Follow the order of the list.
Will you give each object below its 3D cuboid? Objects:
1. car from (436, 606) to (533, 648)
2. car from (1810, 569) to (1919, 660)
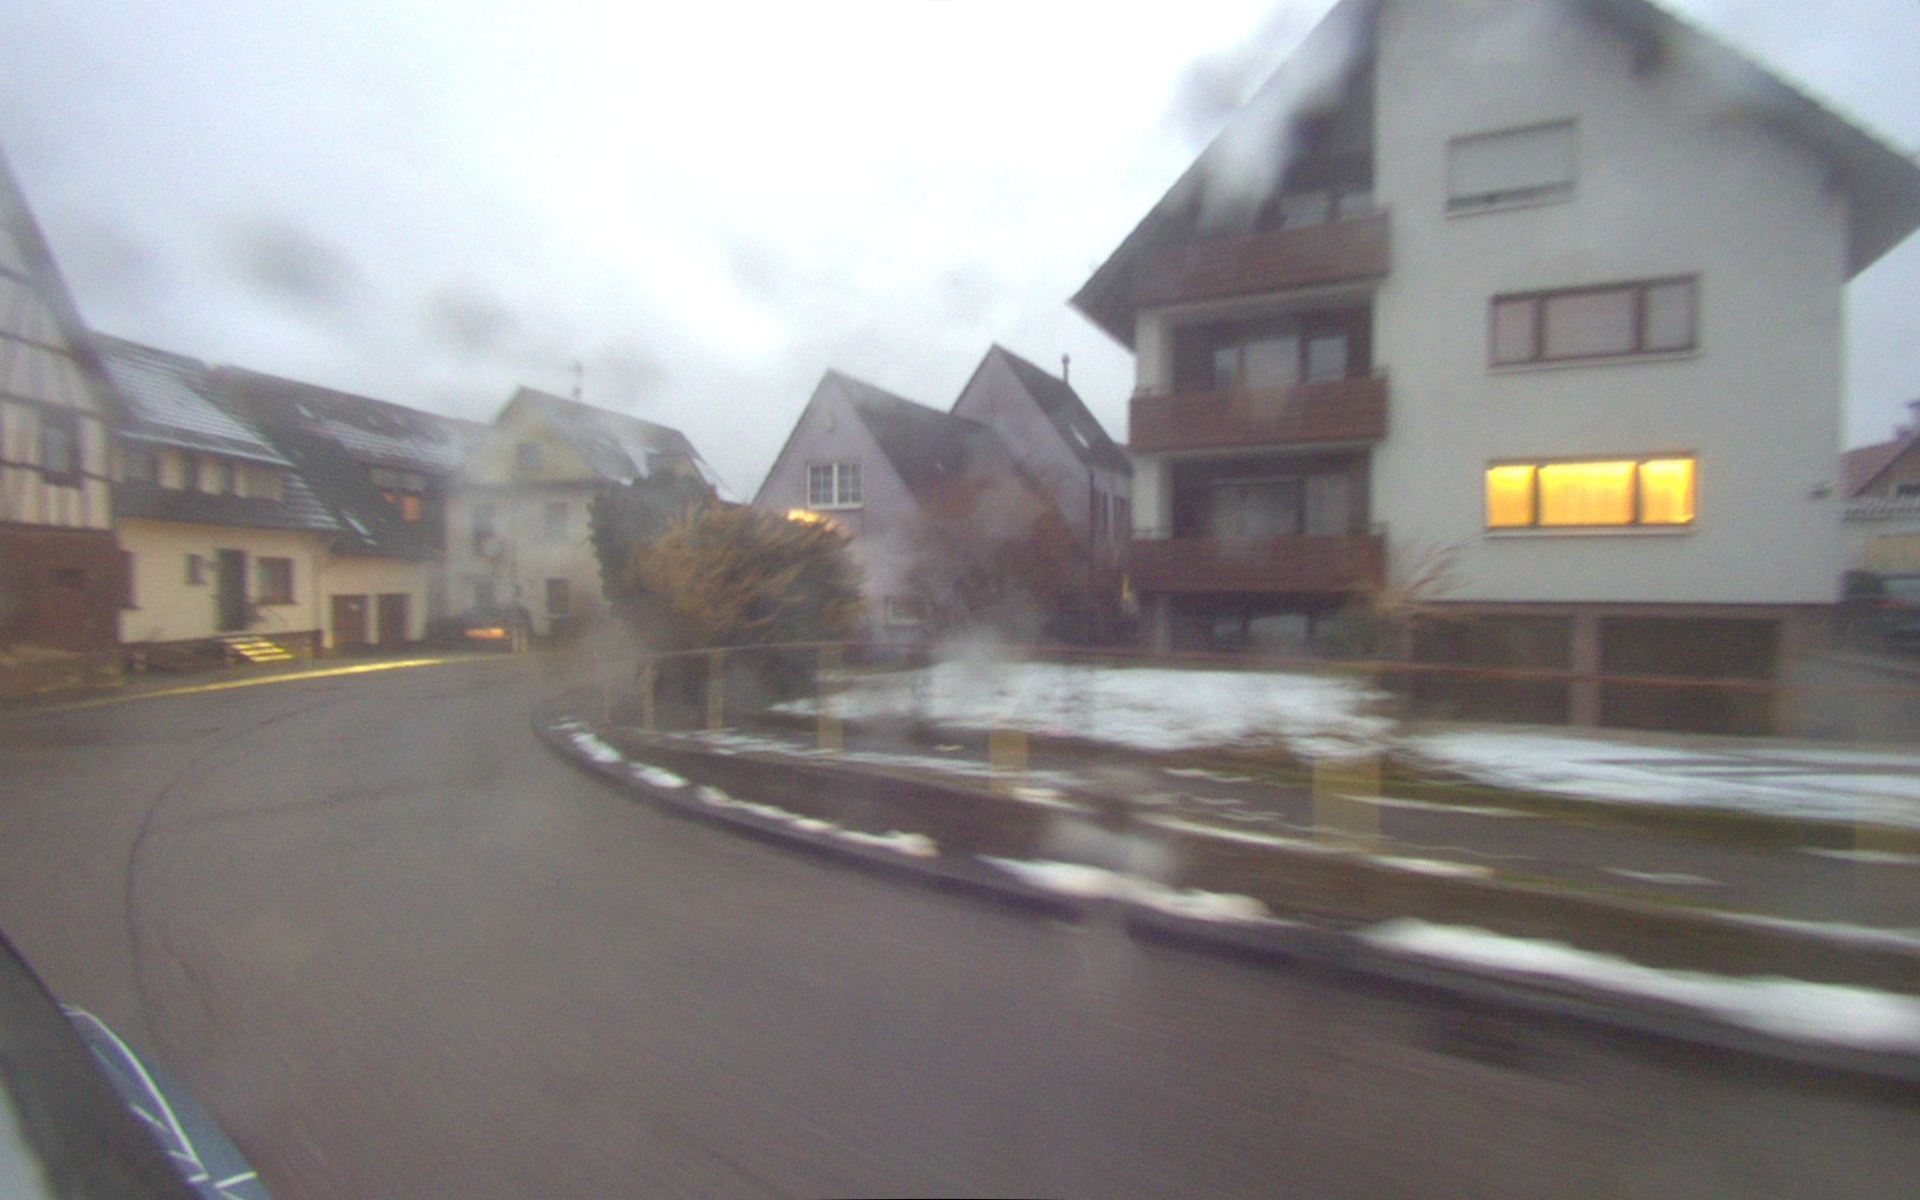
[{"bbox_3d":[-19.499,1.069,41.492,3.467,1.517,1.638,3,0,22],"label":"car"},{"bbox_3d":[17.041,0.196,18.113,1.810,1.497,3.966,-1,0,25],"label":"car"}]
